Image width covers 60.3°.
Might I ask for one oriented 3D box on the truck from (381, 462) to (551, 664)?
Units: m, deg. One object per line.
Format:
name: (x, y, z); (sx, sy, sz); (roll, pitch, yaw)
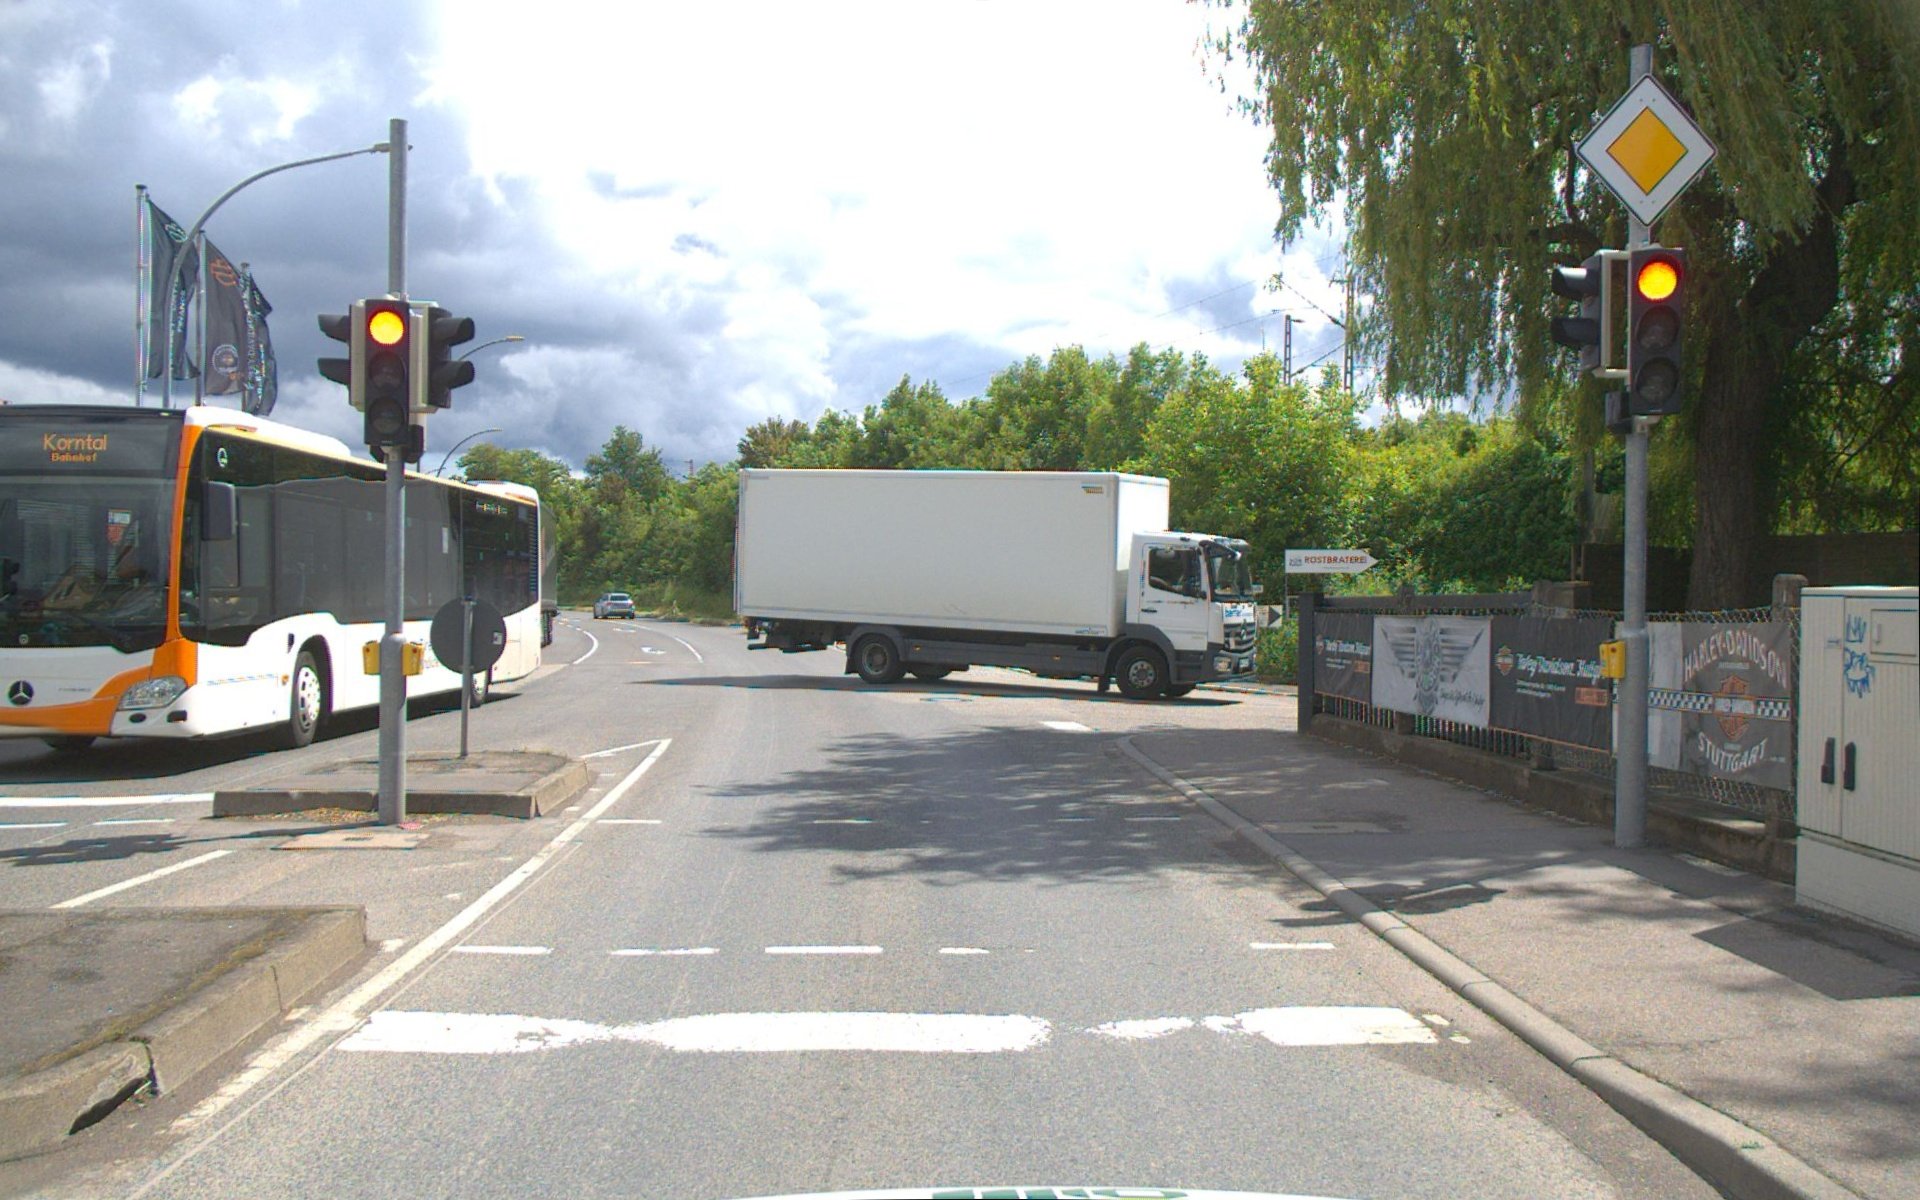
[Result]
truck: (-11.708, -0.781, 40.010); (2.383, 4.203, 9.133); (3, 0, -8)

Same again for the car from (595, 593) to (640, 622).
car: (-19.480, 0.410, 93.973); (1.858, 1.535, 3.975); (1, 0, -21)

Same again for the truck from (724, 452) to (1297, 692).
truck: (0.704, -0.457, 28.275); (9.505, 3.603, 2.845); (0, 0, 27)

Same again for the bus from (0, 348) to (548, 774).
bus: (-7.500, -0.295, 18.957); (2.721, 3.323, 12.120); (0, 0, -1)
